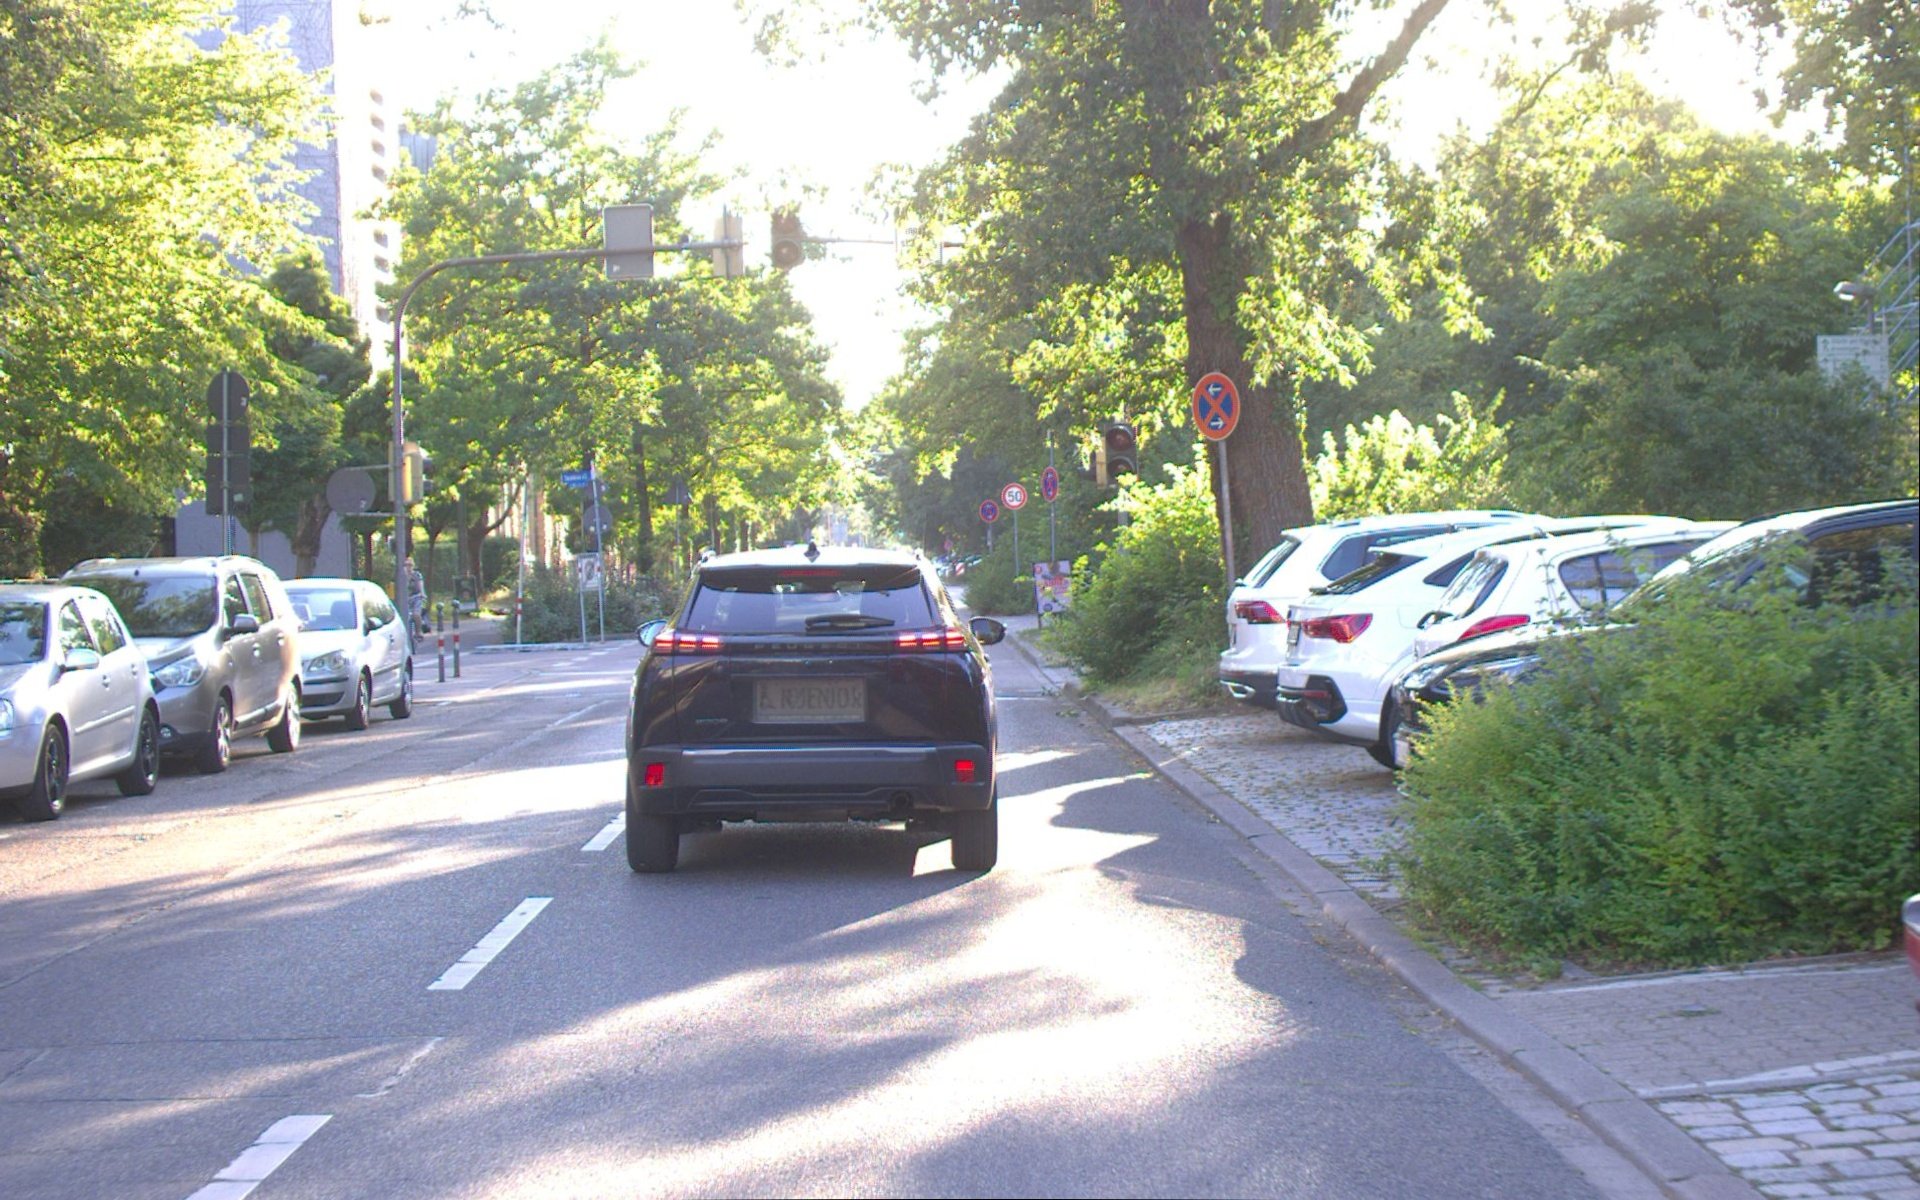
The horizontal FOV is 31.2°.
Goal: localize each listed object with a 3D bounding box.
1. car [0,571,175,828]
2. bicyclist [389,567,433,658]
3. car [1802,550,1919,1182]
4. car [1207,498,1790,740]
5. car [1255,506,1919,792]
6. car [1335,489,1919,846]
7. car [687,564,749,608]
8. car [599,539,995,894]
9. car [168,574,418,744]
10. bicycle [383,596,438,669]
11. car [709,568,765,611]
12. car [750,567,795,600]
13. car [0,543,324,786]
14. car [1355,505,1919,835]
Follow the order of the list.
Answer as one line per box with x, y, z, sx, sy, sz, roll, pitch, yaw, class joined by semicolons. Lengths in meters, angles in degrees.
-6.396;0.584;22.305;1.671;1.488;4.061;-1;1;0;car
-9.817;0.217;61.476;0.675;1.598;0.706;-1;1;-2;bicyclist
4.389;0.495;8.010;4.337;1.470;1.742;-4;2;0;car
3.984;0.127;26.010;4.171;1.704;1.867;-1;1;4;car
3.976;0.277;21.282;4.122;1.662;1.723;-1;1;0;car
3.792;0.288;16.421;3.744;1.589;1.697;-1;1;-3;car
-7.839;-0.464;111.032;1.810;1.349;4.001;-2;1;-6;car
-0.795;0.498;17.283;1.768;1.563;3.381;-1;1;-2;car
-6.541;0.538;34.091;1.679;1.452;3.882;-3;1;0;car
-9.812;0.574;61.460;0.686;1.245;2.193;-1;1;-2;bicycle
-7.627;-0.378;117.281;1.810;1.349;4.001;-2;1;-5;car
-8.249;-0.737;151.119;1.810;1.349;3.980;-2;1;-5;car
-6.410;0.446;27.760;1.679;1.702;4.340;-3;1;0;car
4.123;0.339;18.840;3.588;1.561;1.818;-3;0;-1;car
